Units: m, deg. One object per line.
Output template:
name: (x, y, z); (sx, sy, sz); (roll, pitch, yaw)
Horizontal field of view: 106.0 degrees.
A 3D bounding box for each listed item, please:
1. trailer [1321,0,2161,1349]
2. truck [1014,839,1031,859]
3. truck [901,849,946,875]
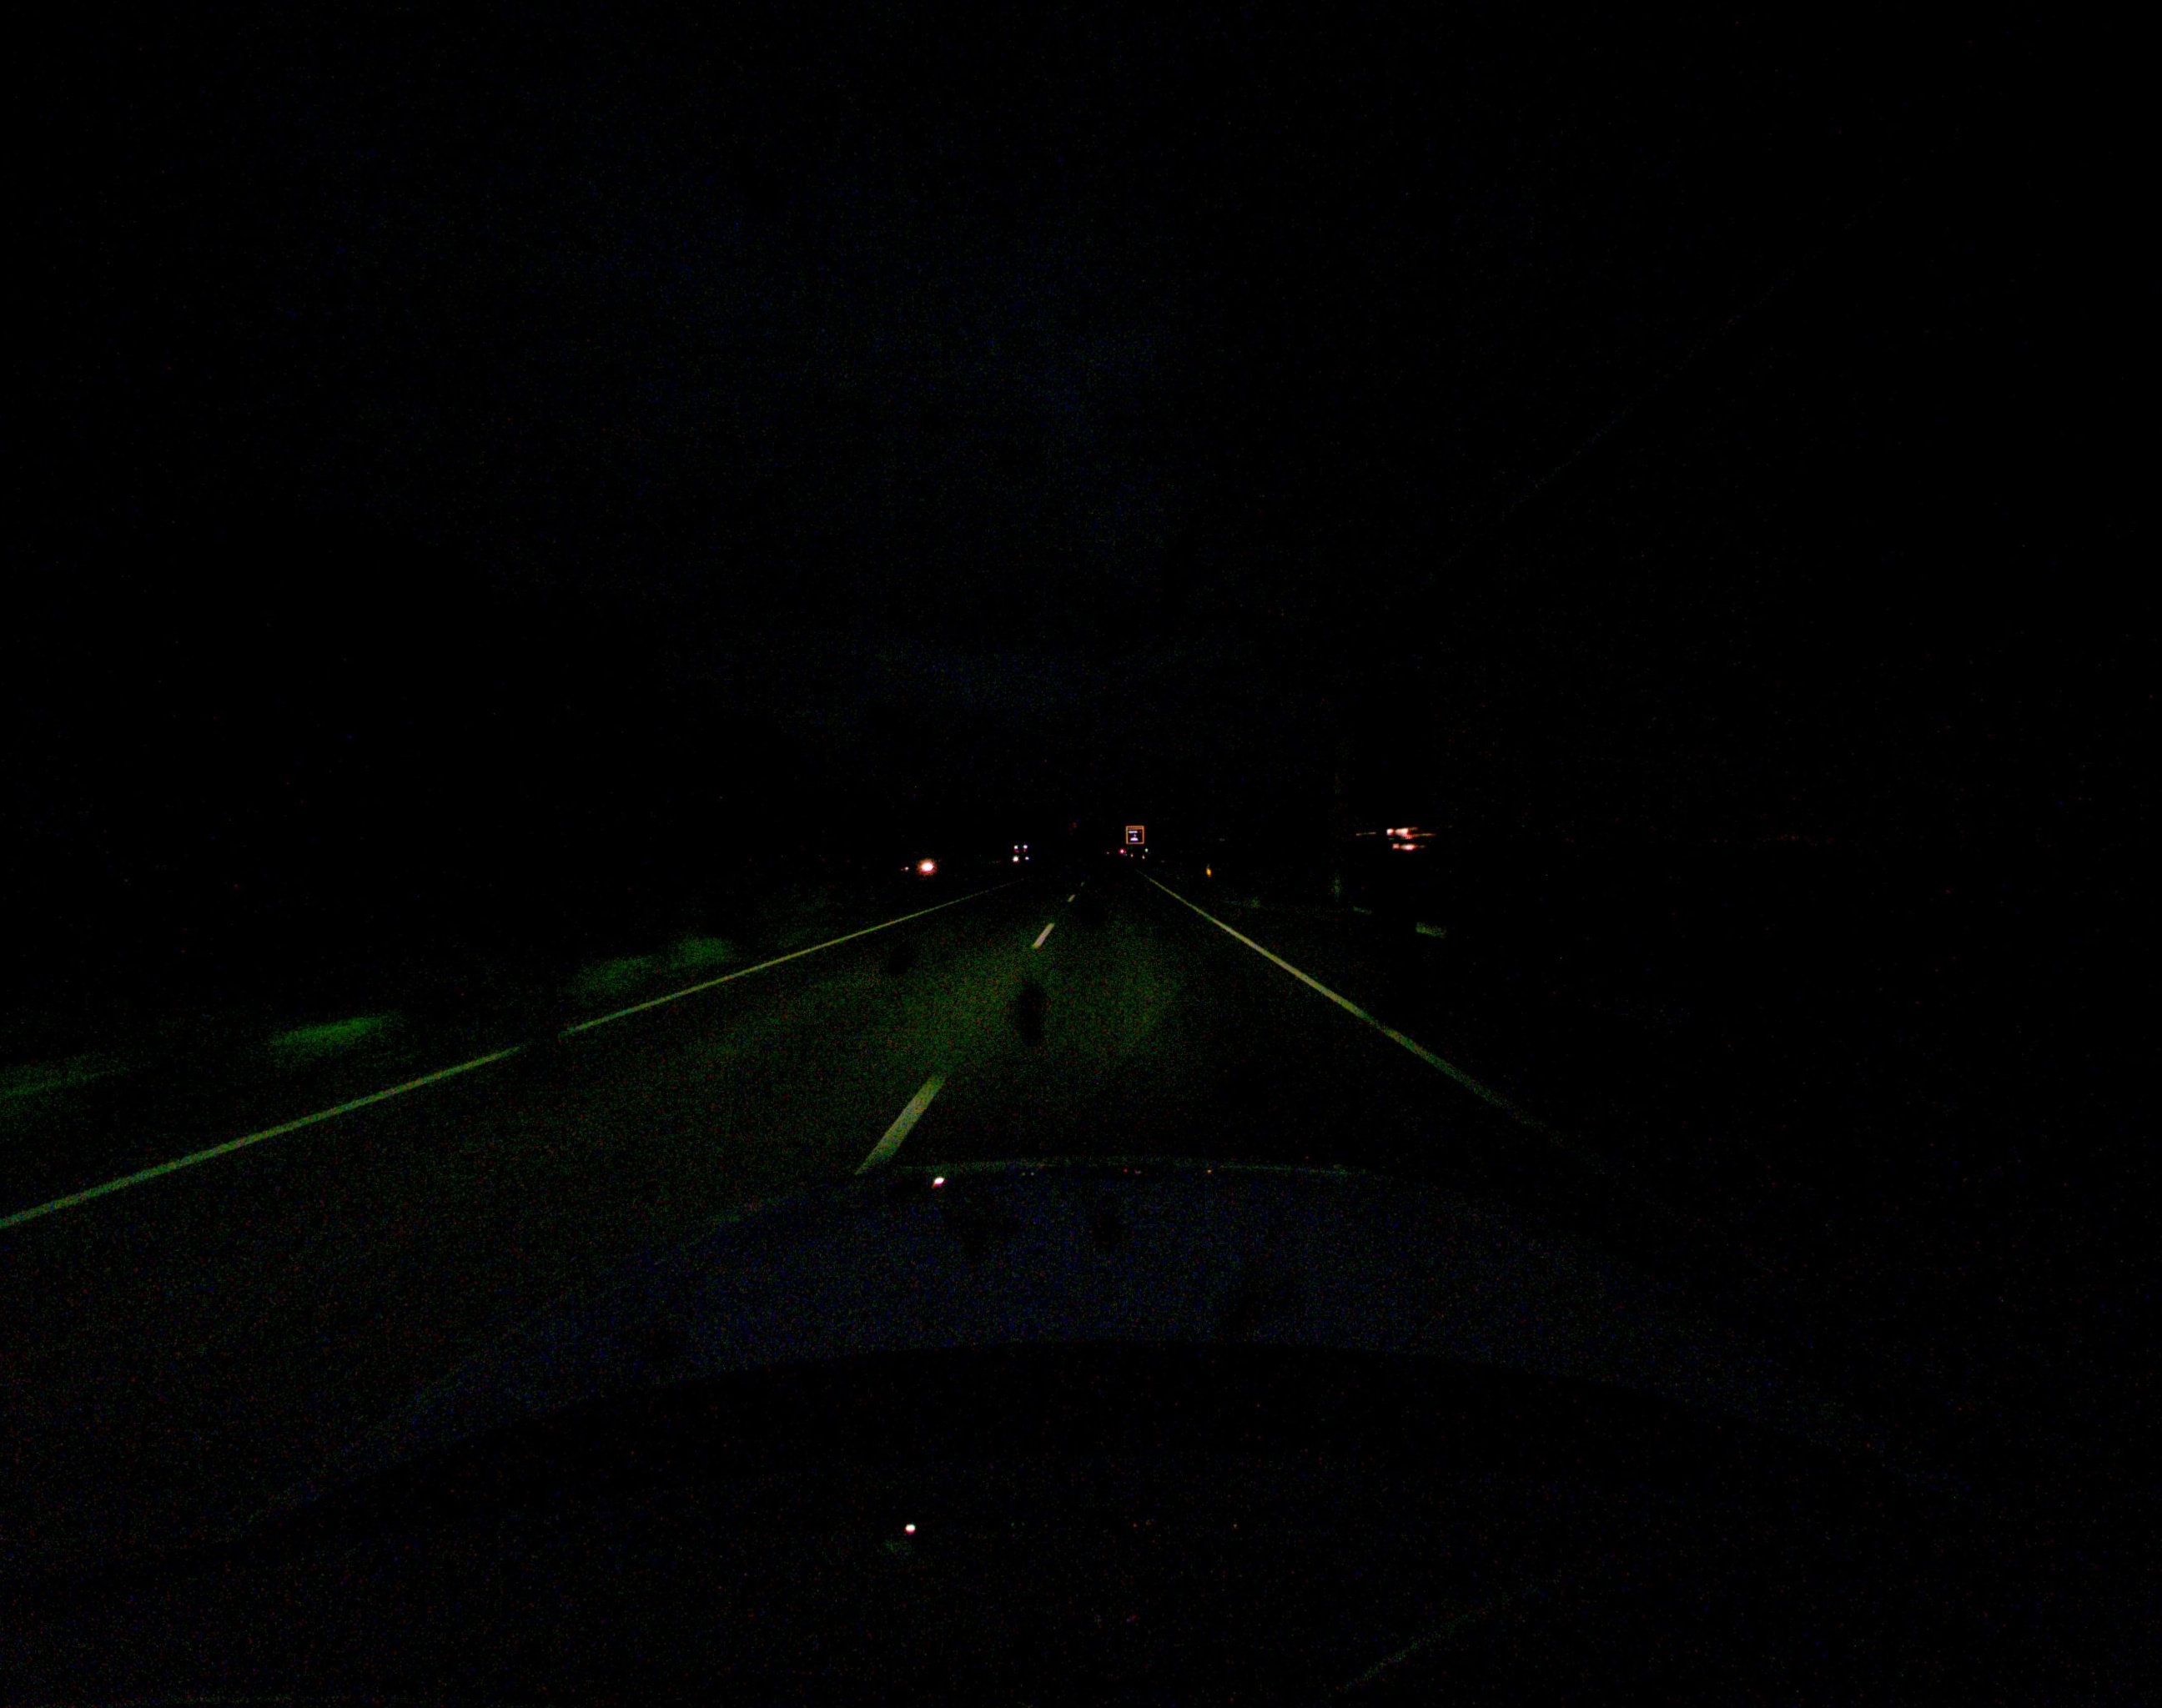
trailer: (4.349, -0.706, 4.302); (2.612, 4.103, 12.942); (-2, 0, 2)
truck: (-10.511, -0.855, 147.587); (2.210, 3.445, 6.719); (0, 0, 3)
truck: (-10.455, 0.503, 54.351); (2.009, 1.652, 4.774); (0, 0, 1)
